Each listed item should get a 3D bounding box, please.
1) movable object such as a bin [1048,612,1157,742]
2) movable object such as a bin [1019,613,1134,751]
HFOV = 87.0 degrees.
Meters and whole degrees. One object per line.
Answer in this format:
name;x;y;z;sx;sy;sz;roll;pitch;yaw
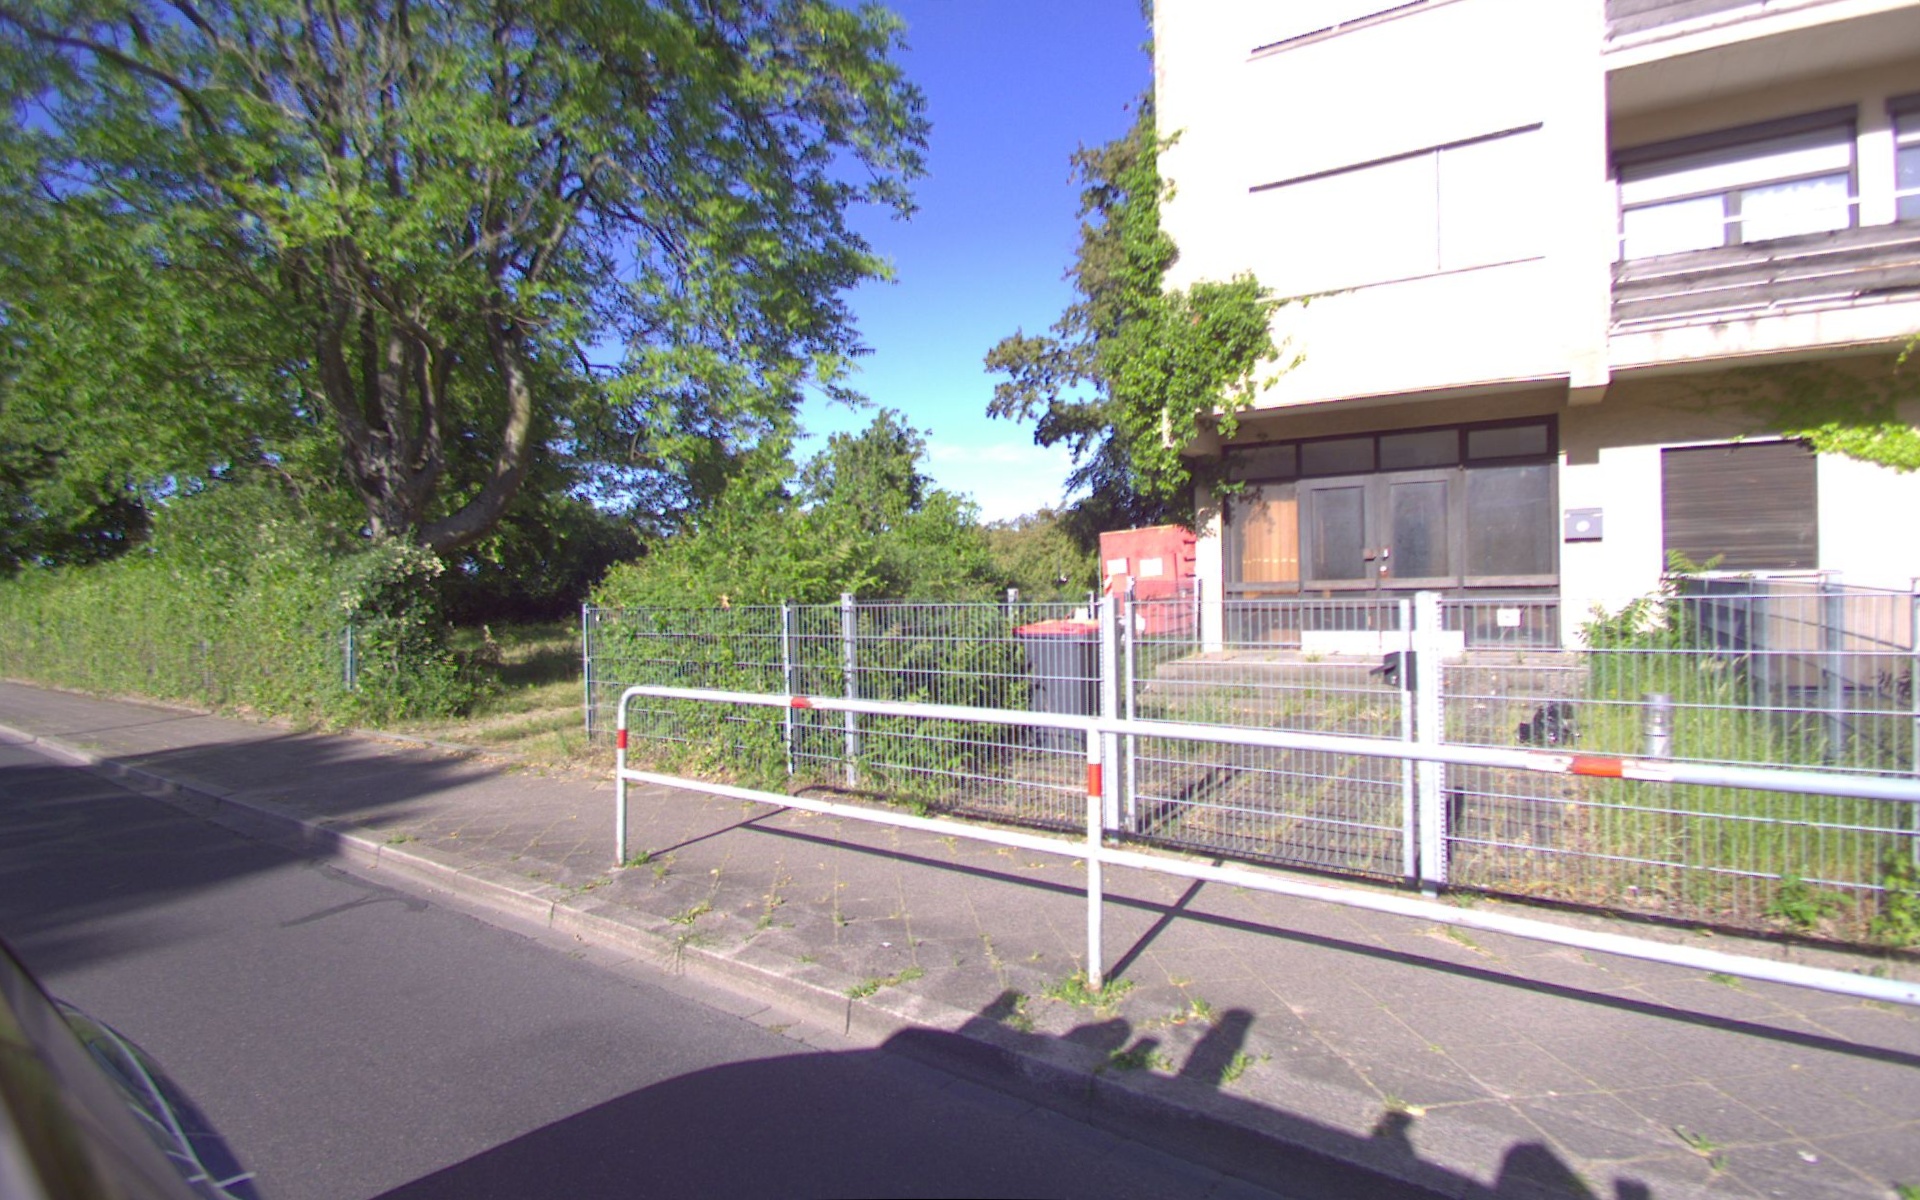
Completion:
movable object such as a bin;1.213;0.630;8.601;0.709;1.032;0.616;-1;0;34
movable object such as a bin;0.943;0.634;8.165;0.709;1.032;0.616;-1;0;34
